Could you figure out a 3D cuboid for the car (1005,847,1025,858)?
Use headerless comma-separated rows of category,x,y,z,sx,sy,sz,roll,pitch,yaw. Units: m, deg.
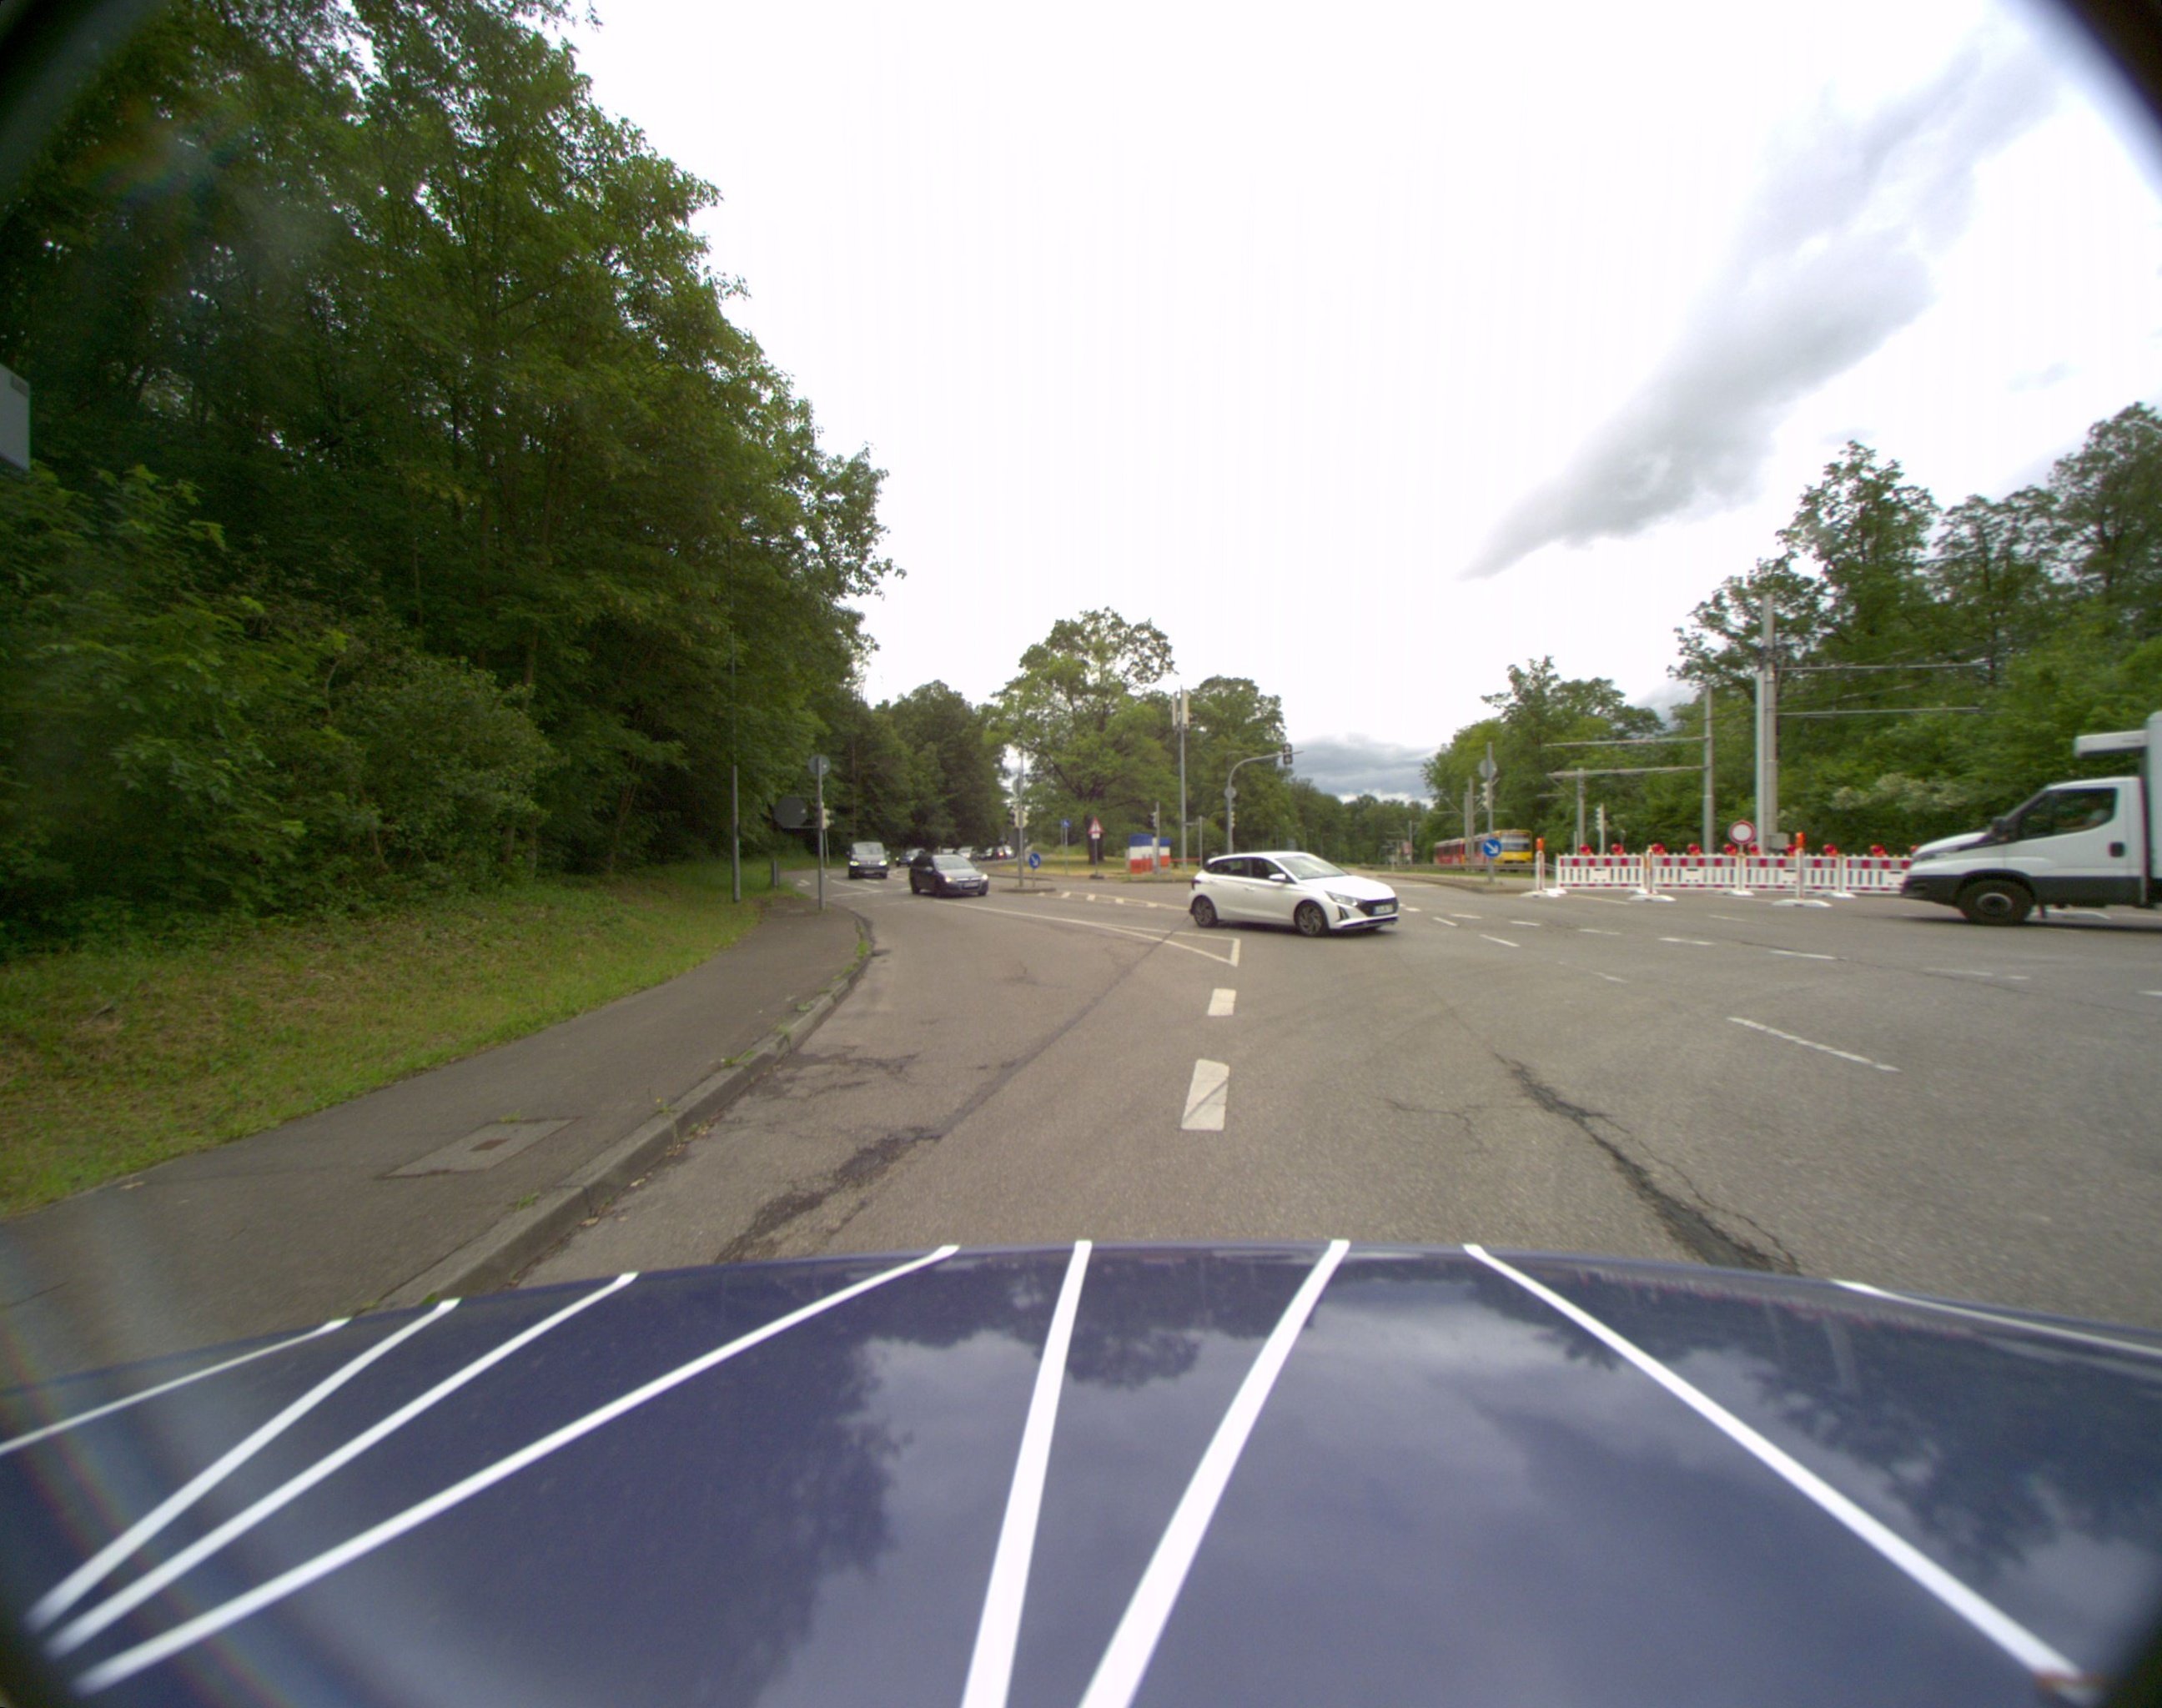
car,-8.507,-0.197,98.392,1.777,1.491,3.874,0,0,6

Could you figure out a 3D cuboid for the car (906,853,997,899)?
car,-4.736,0.727,27.236,1.807,1.471,4.459,0,1,-30

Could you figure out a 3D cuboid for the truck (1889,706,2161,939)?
truck,16.475,-0.428,10.435,2.461,3.205,7.135,0,1,-38

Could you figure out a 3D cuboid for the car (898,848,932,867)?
car,-13.691,0.260,62.755,1.778,1.491,3.873,0,0,3

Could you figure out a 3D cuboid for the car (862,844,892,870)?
car,-14.047,0.185,52.532,1.795,1.664,3.986,-1,0,-12

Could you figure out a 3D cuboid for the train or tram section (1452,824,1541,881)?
train or tram section,37.832,-0.448,70.202,2.950,4.625,18.561,1,2,15

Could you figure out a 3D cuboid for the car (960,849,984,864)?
car,-11.059,0.256,77.308,1.778,1.491,3.873,0,0,3

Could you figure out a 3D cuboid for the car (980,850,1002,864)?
car,-10.076,0.297,84.935,1.778,1.491,3.873,0,0,3

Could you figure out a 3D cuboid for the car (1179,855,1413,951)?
car,3.790,0.771,14.089,1.658,1.471,4.062,0,1,-34

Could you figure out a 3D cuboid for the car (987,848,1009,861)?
car,-9.931,0.079,90.820,1.777,1.491,3.874,0,0,6

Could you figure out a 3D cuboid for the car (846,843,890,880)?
car,-11.306,0.369,40.555,1.992,1.862,4.526,0,0,-12
